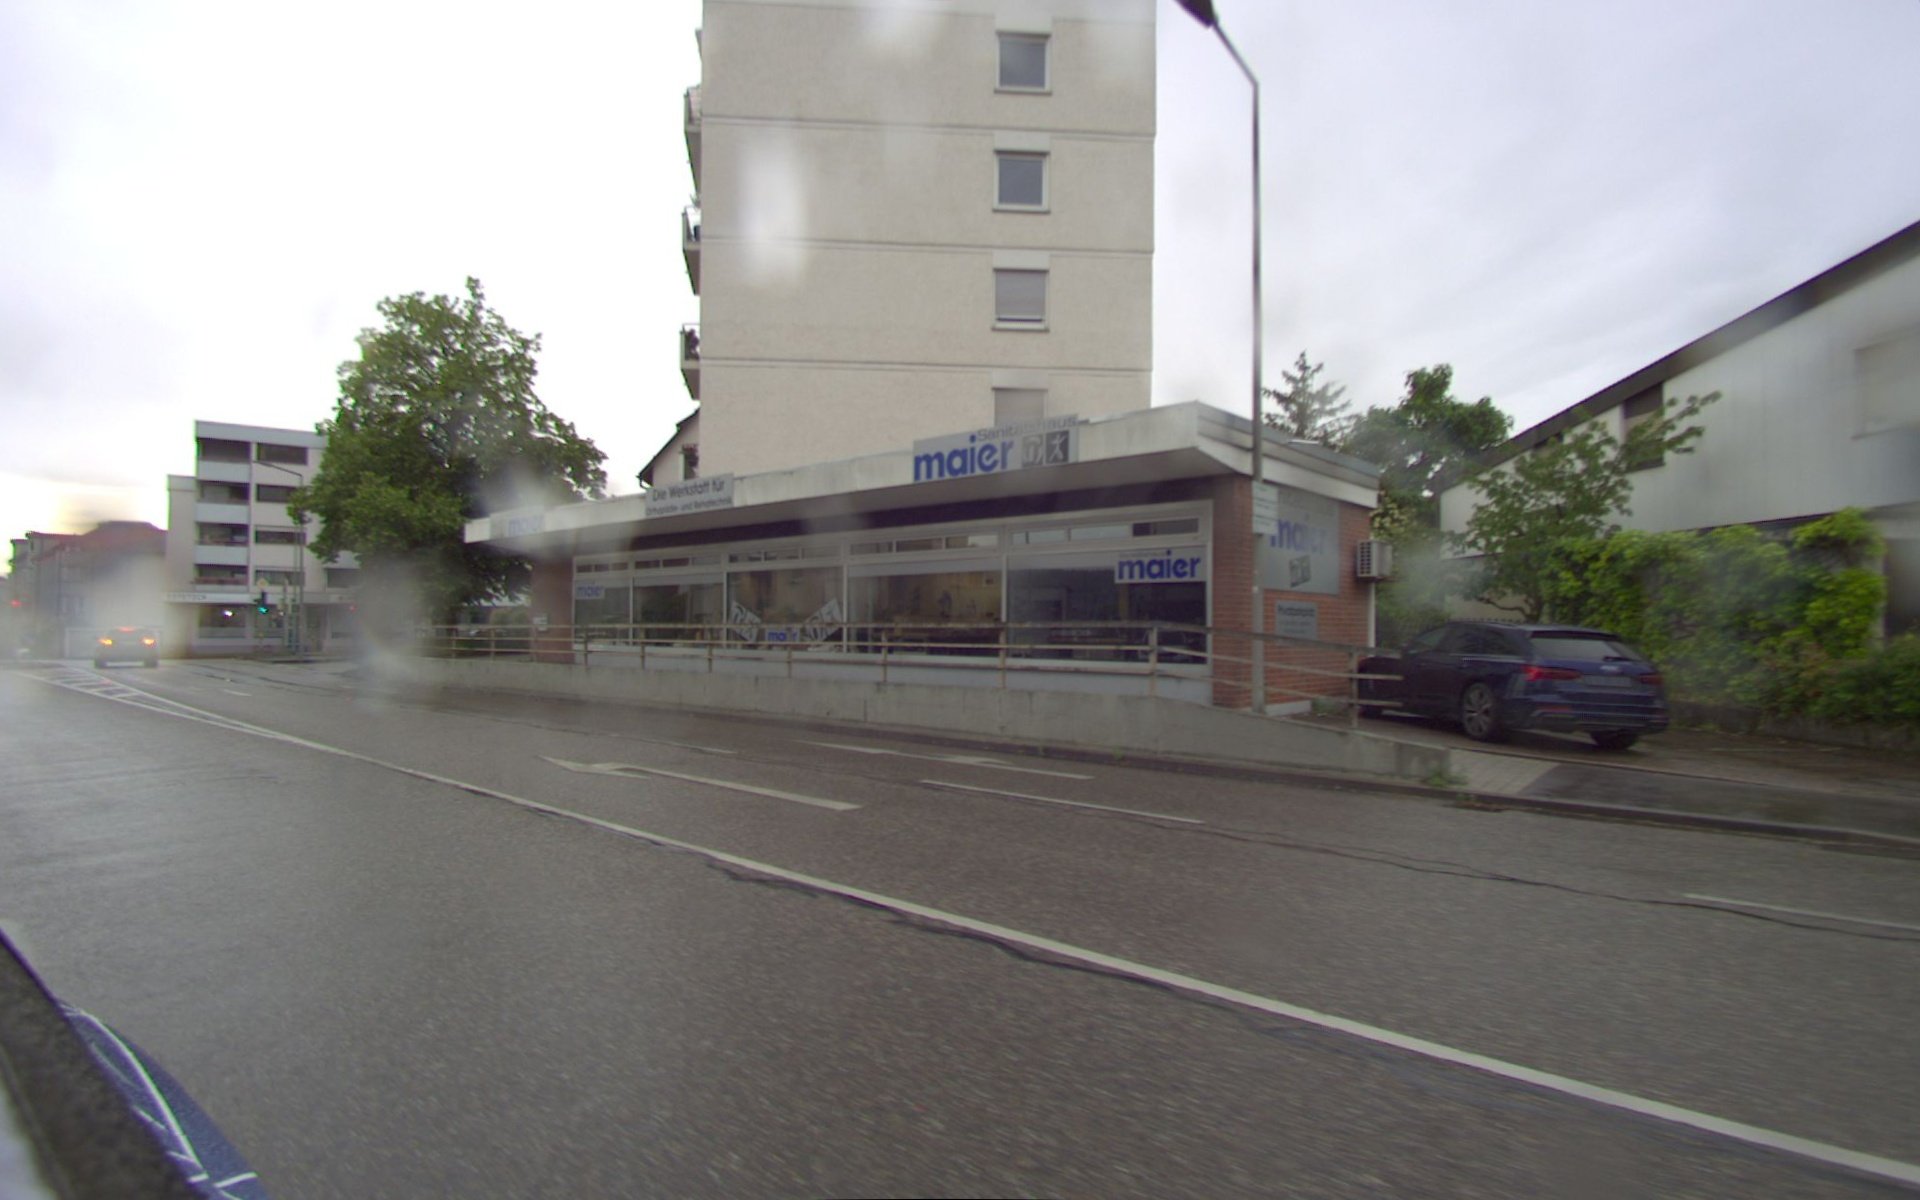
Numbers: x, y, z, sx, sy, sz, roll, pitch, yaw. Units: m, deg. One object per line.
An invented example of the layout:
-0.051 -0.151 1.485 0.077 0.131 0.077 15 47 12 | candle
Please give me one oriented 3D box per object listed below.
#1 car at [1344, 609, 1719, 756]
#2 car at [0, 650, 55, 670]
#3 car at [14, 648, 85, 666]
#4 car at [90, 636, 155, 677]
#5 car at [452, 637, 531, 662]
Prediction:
6.977 0.938 13.065 1.969 1.558 4.476 0 -2 -5 | car
-84.779 5.381 90.469 5.385 1.697 2.154 0 -3 -21 | car
-80.060 5.013 89.008 1.930 1.508 4.558 -3 -3 45 | car
-33.913 2.270 40.933 1.781 1.569 4.322 1 -3 -43 | car
-29.359 3.093 63.517 4.215 1.445 1.840 -1 -2 -15 | car
